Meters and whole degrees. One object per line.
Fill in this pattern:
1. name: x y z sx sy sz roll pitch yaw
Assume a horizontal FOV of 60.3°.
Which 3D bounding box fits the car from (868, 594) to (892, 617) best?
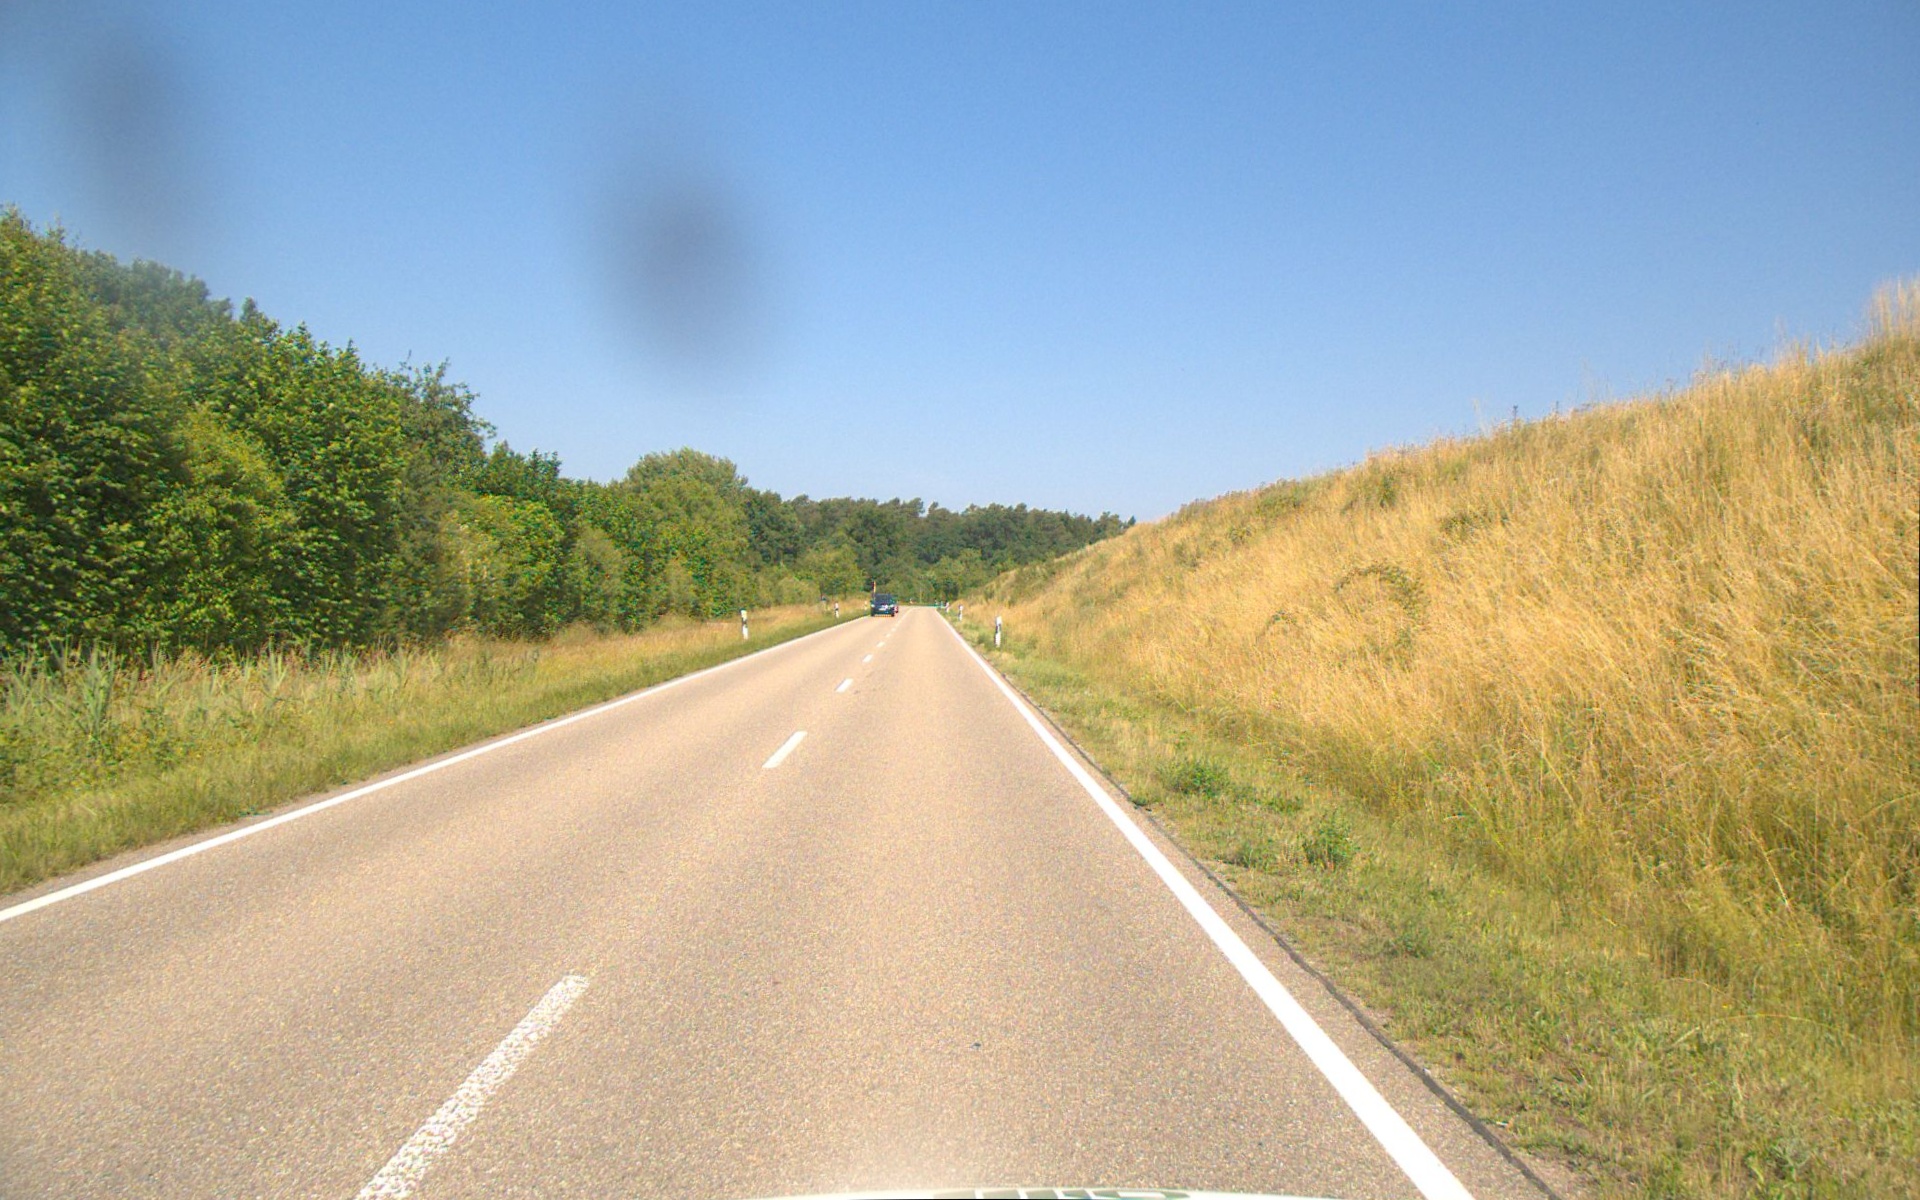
1. car: -6.038 0.436 125.345 1.681 1.675 3.913 1 0 -2
